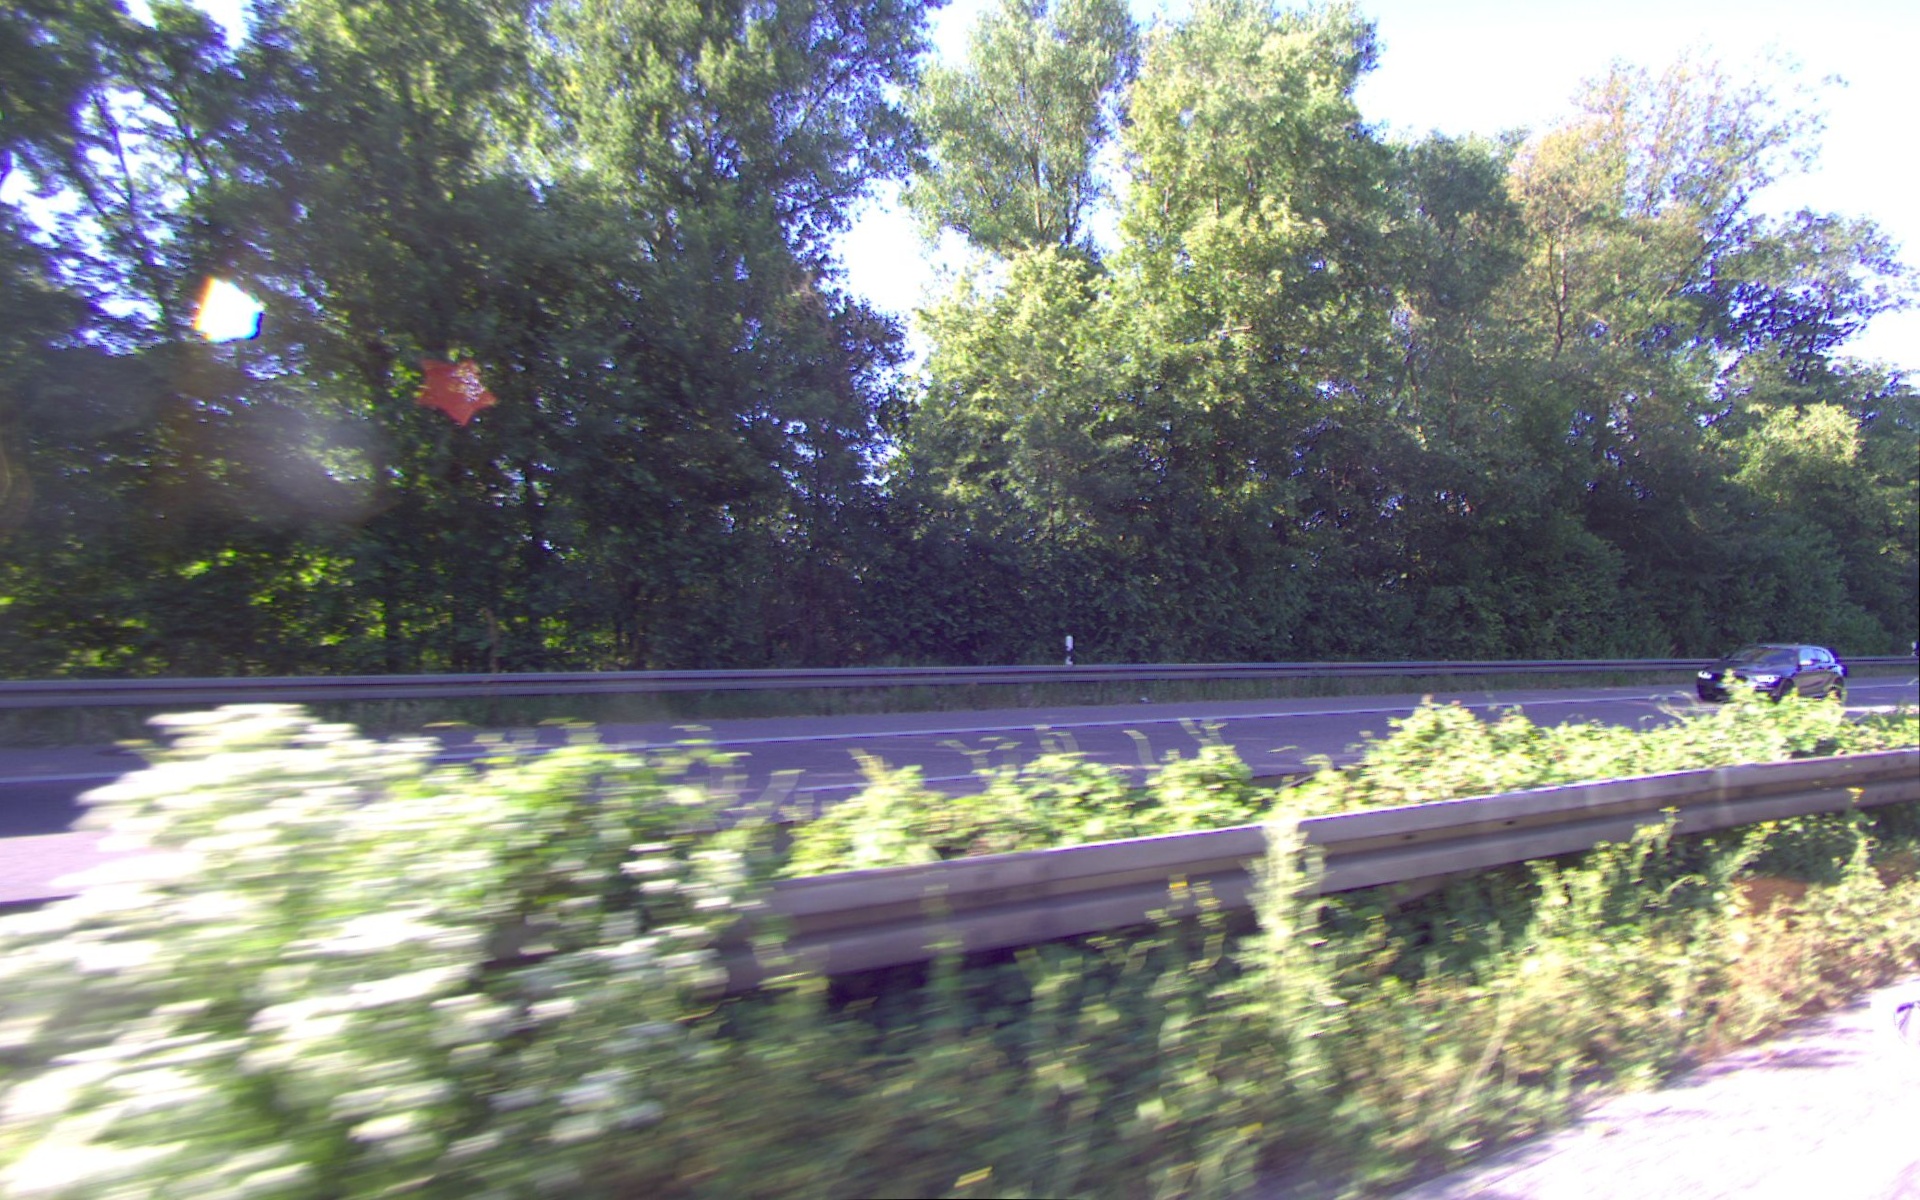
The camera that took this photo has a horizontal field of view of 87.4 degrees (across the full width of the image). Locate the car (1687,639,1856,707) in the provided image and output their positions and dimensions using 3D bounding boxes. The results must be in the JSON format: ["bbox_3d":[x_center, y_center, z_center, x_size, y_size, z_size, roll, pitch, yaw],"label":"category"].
[{"bbox_3d":[19.970,1.730,24.673,4.502,1.427,1.725,1,0,-30],"label":"car"}]
